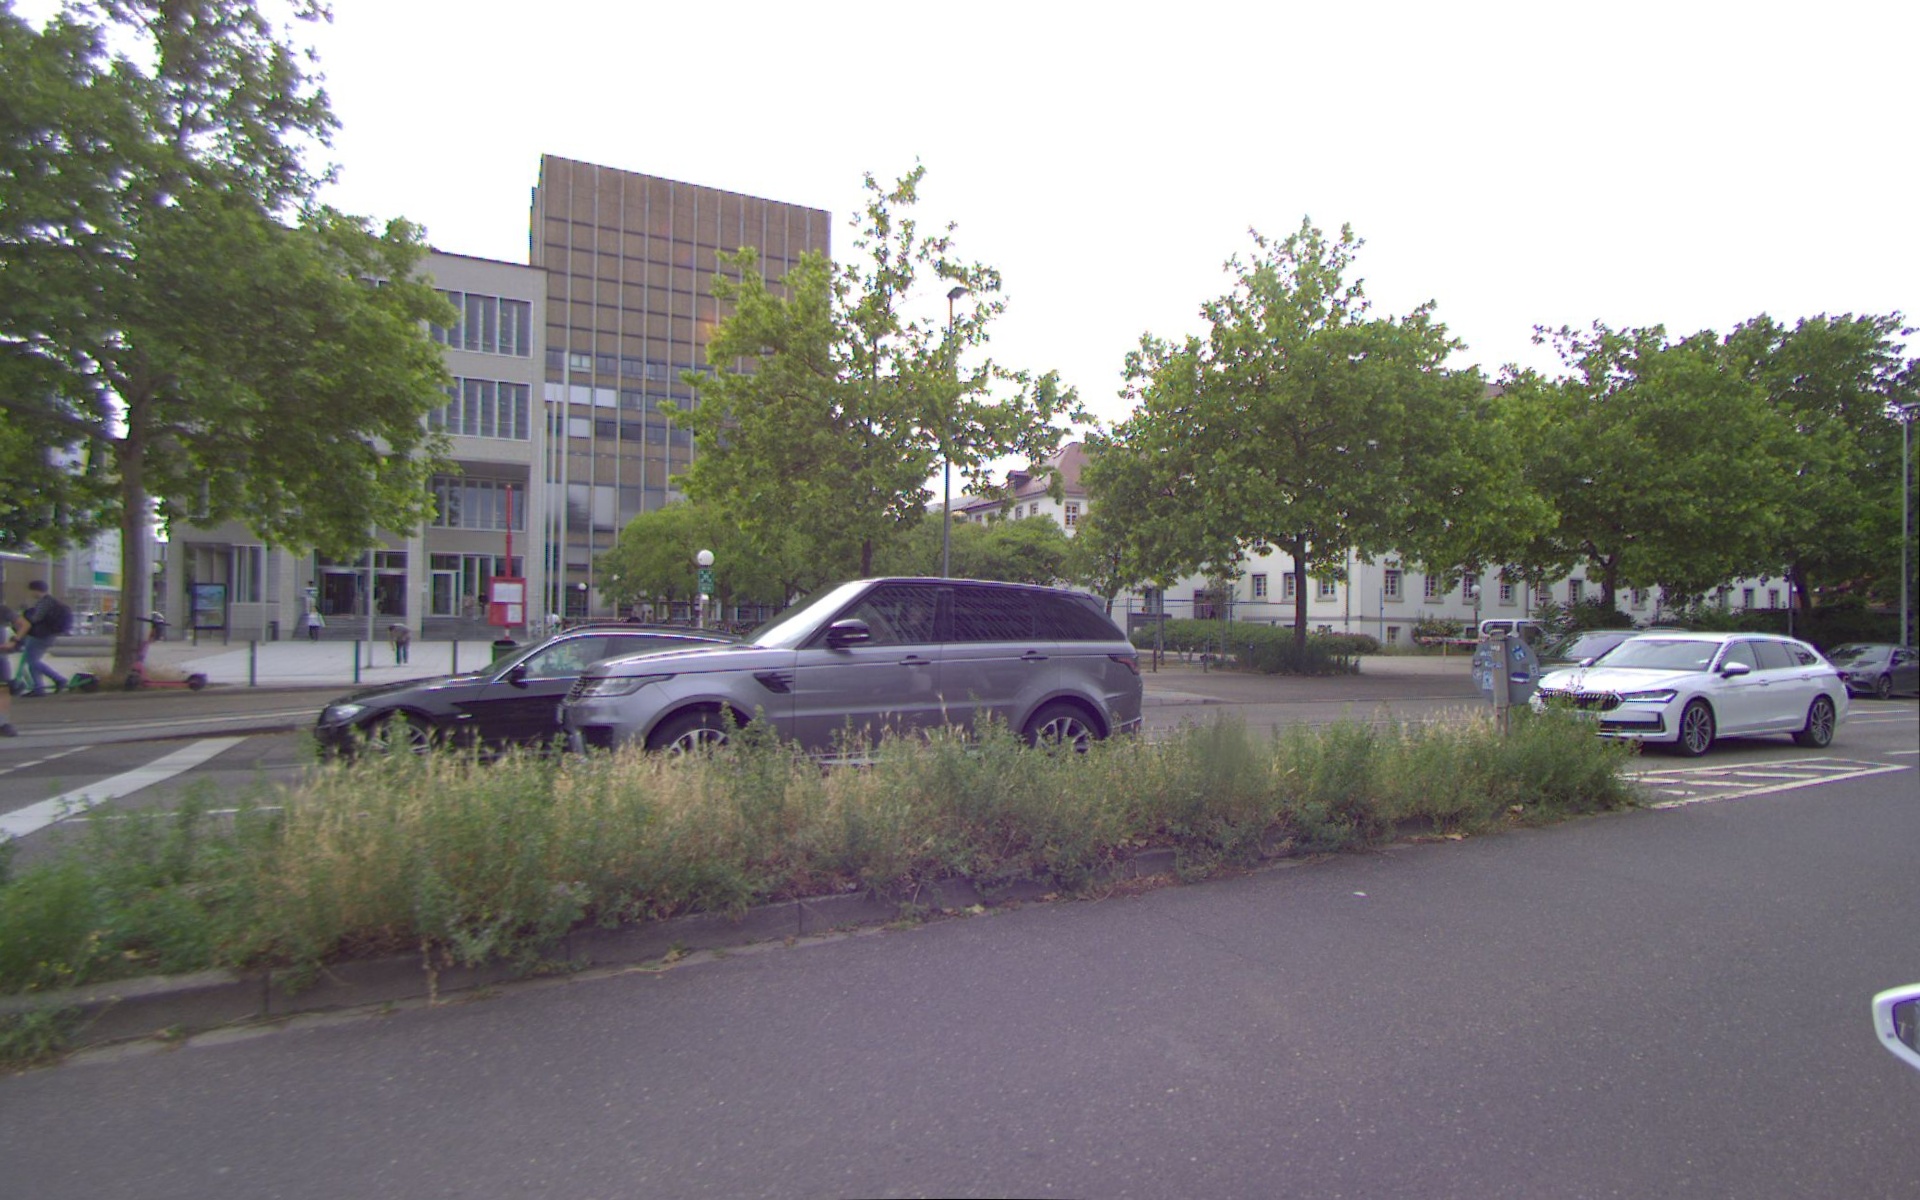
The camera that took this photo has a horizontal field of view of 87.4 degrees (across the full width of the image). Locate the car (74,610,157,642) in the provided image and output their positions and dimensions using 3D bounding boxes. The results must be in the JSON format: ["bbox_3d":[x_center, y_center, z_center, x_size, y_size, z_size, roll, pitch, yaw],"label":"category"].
[{"bbox_3d":[-39.120,1.238,46.635,1.968,1.415,3.878,1,-2,-25],"label":"car"}]

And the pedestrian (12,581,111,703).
[{"bbox_3d":[-14.068,0.658,15.764,0.924,1.827,0.891,1,-2,-29],"label":"pedestrian"}]

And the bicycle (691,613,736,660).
[{"bbox_3d":[-8.610,1.244,34.990,0.772,1.579,2.645,1,-2,-30],"label":"bicycle"}]

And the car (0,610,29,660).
[{"bbox_3d":[-33.162,1.160,33.611,1.830,1.706,3.973,1,-2,-26],"label":"car"}]

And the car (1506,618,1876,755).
[{"bbox_3d":[9.717,1.049,13.302,4.845,1.485,1.897,1,0,-26],"label":"car"}]

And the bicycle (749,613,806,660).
[{"bbox_3d":[-6.379,1.251,34.977,0.913,1.579,2.641,2,-2,-35],"label":"bicycle"}]

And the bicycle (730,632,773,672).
[{"bbox_3d":[-7.069,1.729,34.020,0.713,1.286,2.524,1,-2,-29],"label":"bicycle"}]

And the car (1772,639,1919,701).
[{"bbox_3d":[24.523,1.868,27.200,4.659,1.443,1.870,1,1,-22],"label":"car"}]

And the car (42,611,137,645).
[{"bbox_3d":[-36.963,1.189,42.772,1.980,1.379,3.976,1,-2,-25],"label":"car"}]

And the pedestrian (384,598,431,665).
[{"bbox_3d":[-17.250,0.989,31.370,1.089,2.040,0.785,2,-2,-42],"label":"pedestrian"}]

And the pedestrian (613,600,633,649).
[{"bbox_3d":[-14.246,1.030,42.474,0.783,2.040,0.894,1,-2,-18],"label":"pedestrian"}]

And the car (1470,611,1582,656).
[{"bbox_3d":[22.345,1.305,39.782,1.631,1.623,3.572,1,0,-27],"label":"car"}]

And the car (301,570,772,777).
[{"bbox_3d":[-4.022,0.678,9.956,3.947,1.712,1.693,2,-2,-26],"label":"car"}]

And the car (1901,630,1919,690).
[{"bbox_3d":[29.412,1.778,28.982,3.947,1.712,1.987,2,0,-26],"label":"car"}]

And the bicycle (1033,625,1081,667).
[{"bbox_3d":[3.848,1.823,40.091,0.713,1.615,2.389,1,-2,-29],"label":"bicycle"}]

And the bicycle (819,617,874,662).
[{"bbox_3d":[-4.154,1.423,36.477,0.913,1.579,2.428,2,-2,-35],"label":"bicycle"}]

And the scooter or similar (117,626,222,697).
[{"bbox_3d":[-13.215,1.026,16.822,1.302,1.155,0.359,1,-2,-26],"label":"scooter or similar"}]

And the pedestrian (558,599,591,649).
[{"bbox_3d":[-15.889,0.979,41.401,0.969,2.040,0.796,1,-1,3],"label":"pedestrian"}]

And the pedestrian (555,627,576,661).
[{"bbox_3d":[-17.311,1.931,44.087,0.783,1.437,0.894,1,-2,-18],"label":"pedestrian"}]

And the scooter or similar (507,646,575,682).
[{"bbox_3d":[-8.598,1.317,20.634,1.271,0.703,0.406,1,0,-23],"label":"scooter or similar"}]

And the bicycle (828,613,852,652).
[{"bbox_3d":[-4.996,1.356,41.684,0.906,1.579,2.664,1,-2,-8],"label":"bicycle"}]

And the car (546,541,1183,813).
[{"bbox_3d":[-0.715,0.523,8.343,4.885,1.710,1.986,1,0,-28],"label":"car"}]

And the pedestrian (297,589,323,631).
[{"bbox_3d":[-32.546,0.508,50.294,0.941,2.040,0.785,2,-2,-42],"label":"pedestrian"}]

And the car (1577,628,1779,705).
[{"bbox_3d":[16.991,1.531,23.758,4.529,1.629,1.854,1,0,-24],"label":"car"}]

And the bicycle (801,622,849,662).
[{"bbox_3d":[-4.806,1.465,35.455,0.713,1.347,2.806,1,-2,-29],"label":"bicycle"}]

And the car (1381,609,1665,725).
[{"bbox_3d":[9.367,1.068,16.711,4.409,1.716,1.987,2,-2,-26],"label":"car"}]

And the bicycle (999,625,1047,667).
[{"bbox_3d":[2.456,1.789,39.558,0.713,1.615,2.389,1,-2,-29],"label":"bicycle"}]

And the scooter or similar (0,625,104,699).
[{"bbox_3d":[-14.664,0.991,16.145,1.302,1.155,0.359,1,-2,-26],"label":"scooter or similar"}]

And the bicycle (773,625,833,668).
[{"bbox_3d":[-4.512,1.316,28.746,0.716,1.168,2.011,2,-2,-42],"label":"bicycle"}]

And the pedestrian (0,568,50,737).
[{"bbox_3d":[-12.063,0.640,12.388,0.997,2.040,0.890,1,-1,-27],"label":"pedestrian"}]

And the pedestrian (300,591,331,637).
[{"bbox_3d":[-28.754,0.635,44.821,1.031,2.040,0.785,2,-2,-42],"label":"pedestrian"}]
